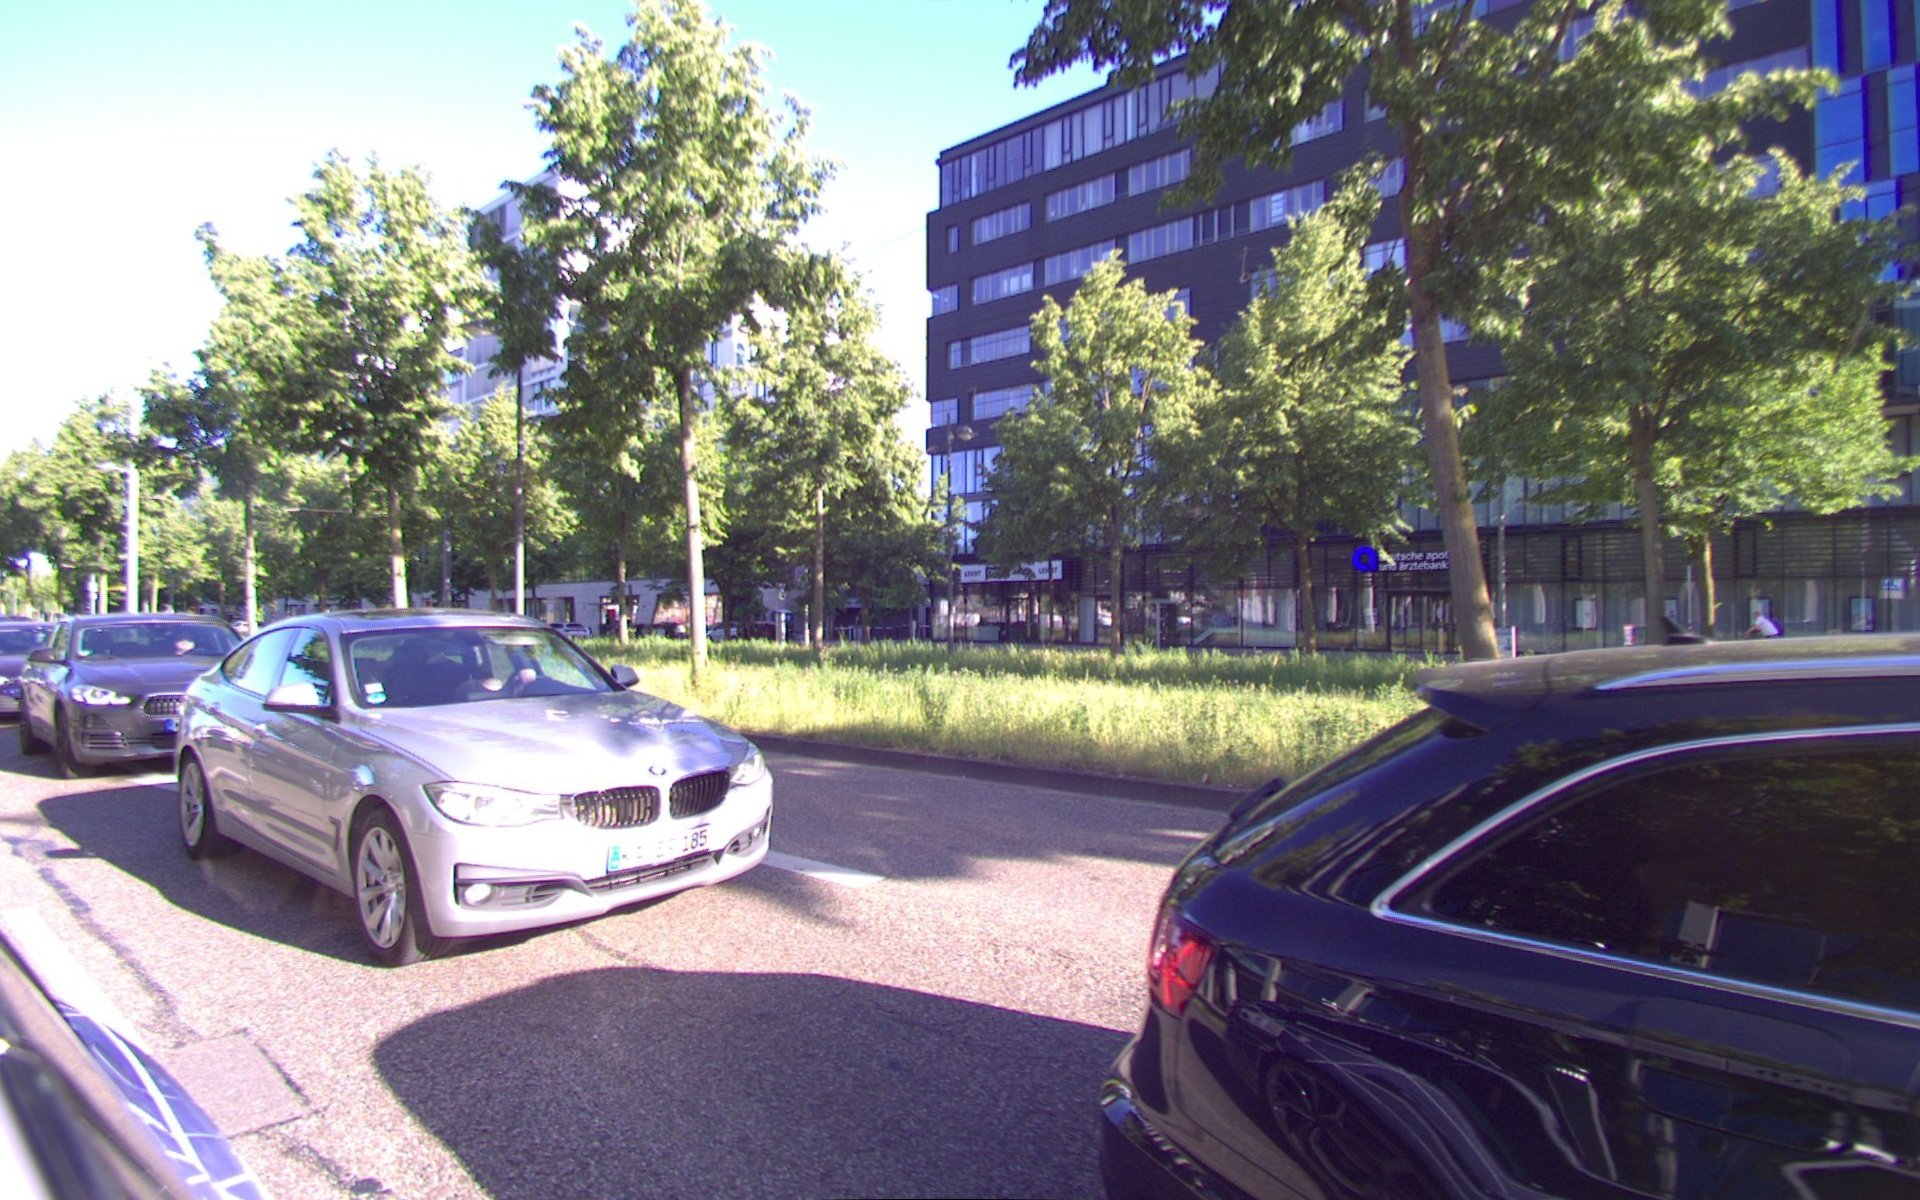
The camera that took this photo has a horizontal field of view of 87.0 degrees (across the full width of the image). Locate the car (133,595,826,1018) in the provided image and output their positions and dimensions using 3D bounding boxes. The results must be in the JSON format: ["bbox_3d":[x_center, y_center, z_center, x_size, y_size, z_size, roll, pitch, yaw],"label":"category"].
[{"bbox_3d":[-3.041,0.777,5.822,4.738,1.500,1.790,-1,-1,40],"label":"car"}]

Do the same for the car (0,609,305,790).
[{"bbox_3d":[-8.559,0.880,10.609,4.026,1.534,1.789,-1,-1,41],"label":"car"}]

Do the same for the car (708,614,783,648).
[{"bbox_3d":[-11.286,1.606,53.225,3.998,1.762,1.834,-1,-1,41],"label":"car"}]

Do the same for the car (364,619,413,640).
[{"bbox_3d":[-47.827,2.468,84.592,4.787,1.711,1.987,-1,-1,39],"label":"car"}]

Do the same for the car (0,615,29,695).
[{"bbox_3d":[-21.089,1.128,21.312,4.163,1.602,1.789,-1,-1,42],"label":"car"}]

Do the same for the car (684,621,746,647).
[{"bbox_3d":[-15.141,2.074,62.416,3.997,1.516,1.735,-1,-1,40],"label":"car"}]

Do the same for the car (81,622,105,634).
[{"bbox_3d":[-106.425,3.427,124.153,3.998,1.403,1.645,-1,-1,41],"label":"car"}]

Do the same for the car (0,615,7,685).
[{"bbox_3d":[-26.002,1.253,25.724,4.787,1.711,1.987,-1,-1,39],"label":"car"}]

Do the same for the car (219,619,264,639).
[{"bbox_3d":[-57.980,2.318,81.644,4.733,1.549,1.835,-1,-1,41],"label":"car"}]

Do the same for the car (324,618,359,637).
[{"bbox_3d":[-55.919,2.485,91.486,3.741,1.682,1.581,-1,-1,41],"label":"car"}]

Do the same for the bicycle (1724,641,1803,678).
[{"bbox_3d":[24.205,1.787,30.520,1.847,1.041,0.522,0,0,41],"label":"bicycle"}]

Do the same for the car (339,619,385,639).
[{"bbox_3d":[-52.240,2.516,88.361,4.787,1.711,1.987,-1,-1,39],"label":"car"}]

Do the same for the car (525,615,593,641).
[{"bbox_3d":[-26.469,1.830,66.785,4.784,1.711,1.988,-1,-1,37],"label":"car"}]

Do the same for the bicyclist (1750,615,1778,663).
[{"bbox_3d":[24.227,1.172,30.489,0.626,1.416,0.487,-1,0,41],"label":"bicyclist"}]

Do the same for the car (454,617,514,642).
[{"bbox_3d":[-34.488,2.111,73.295,4.784,1.711,1.988,-1,-1,37],"label":"car"}]

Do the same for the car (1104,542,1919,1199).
[{"bbox_3d":[2.527,0.664,0.916,4.505,1.468,1.789,-1,-1,41],"label":"car"}]

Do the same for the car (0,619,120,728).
[{"bbox_3d":[-14.239,1.022,15.260,4.252,1.465,1.789,-1,-1,42],"label":"car"}]

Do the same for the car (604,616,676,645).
[{"bbox_3d":[-19.000,1.779,59.939,4.789,1.697,1.834,-1,-1,41],"label":"car"}]
